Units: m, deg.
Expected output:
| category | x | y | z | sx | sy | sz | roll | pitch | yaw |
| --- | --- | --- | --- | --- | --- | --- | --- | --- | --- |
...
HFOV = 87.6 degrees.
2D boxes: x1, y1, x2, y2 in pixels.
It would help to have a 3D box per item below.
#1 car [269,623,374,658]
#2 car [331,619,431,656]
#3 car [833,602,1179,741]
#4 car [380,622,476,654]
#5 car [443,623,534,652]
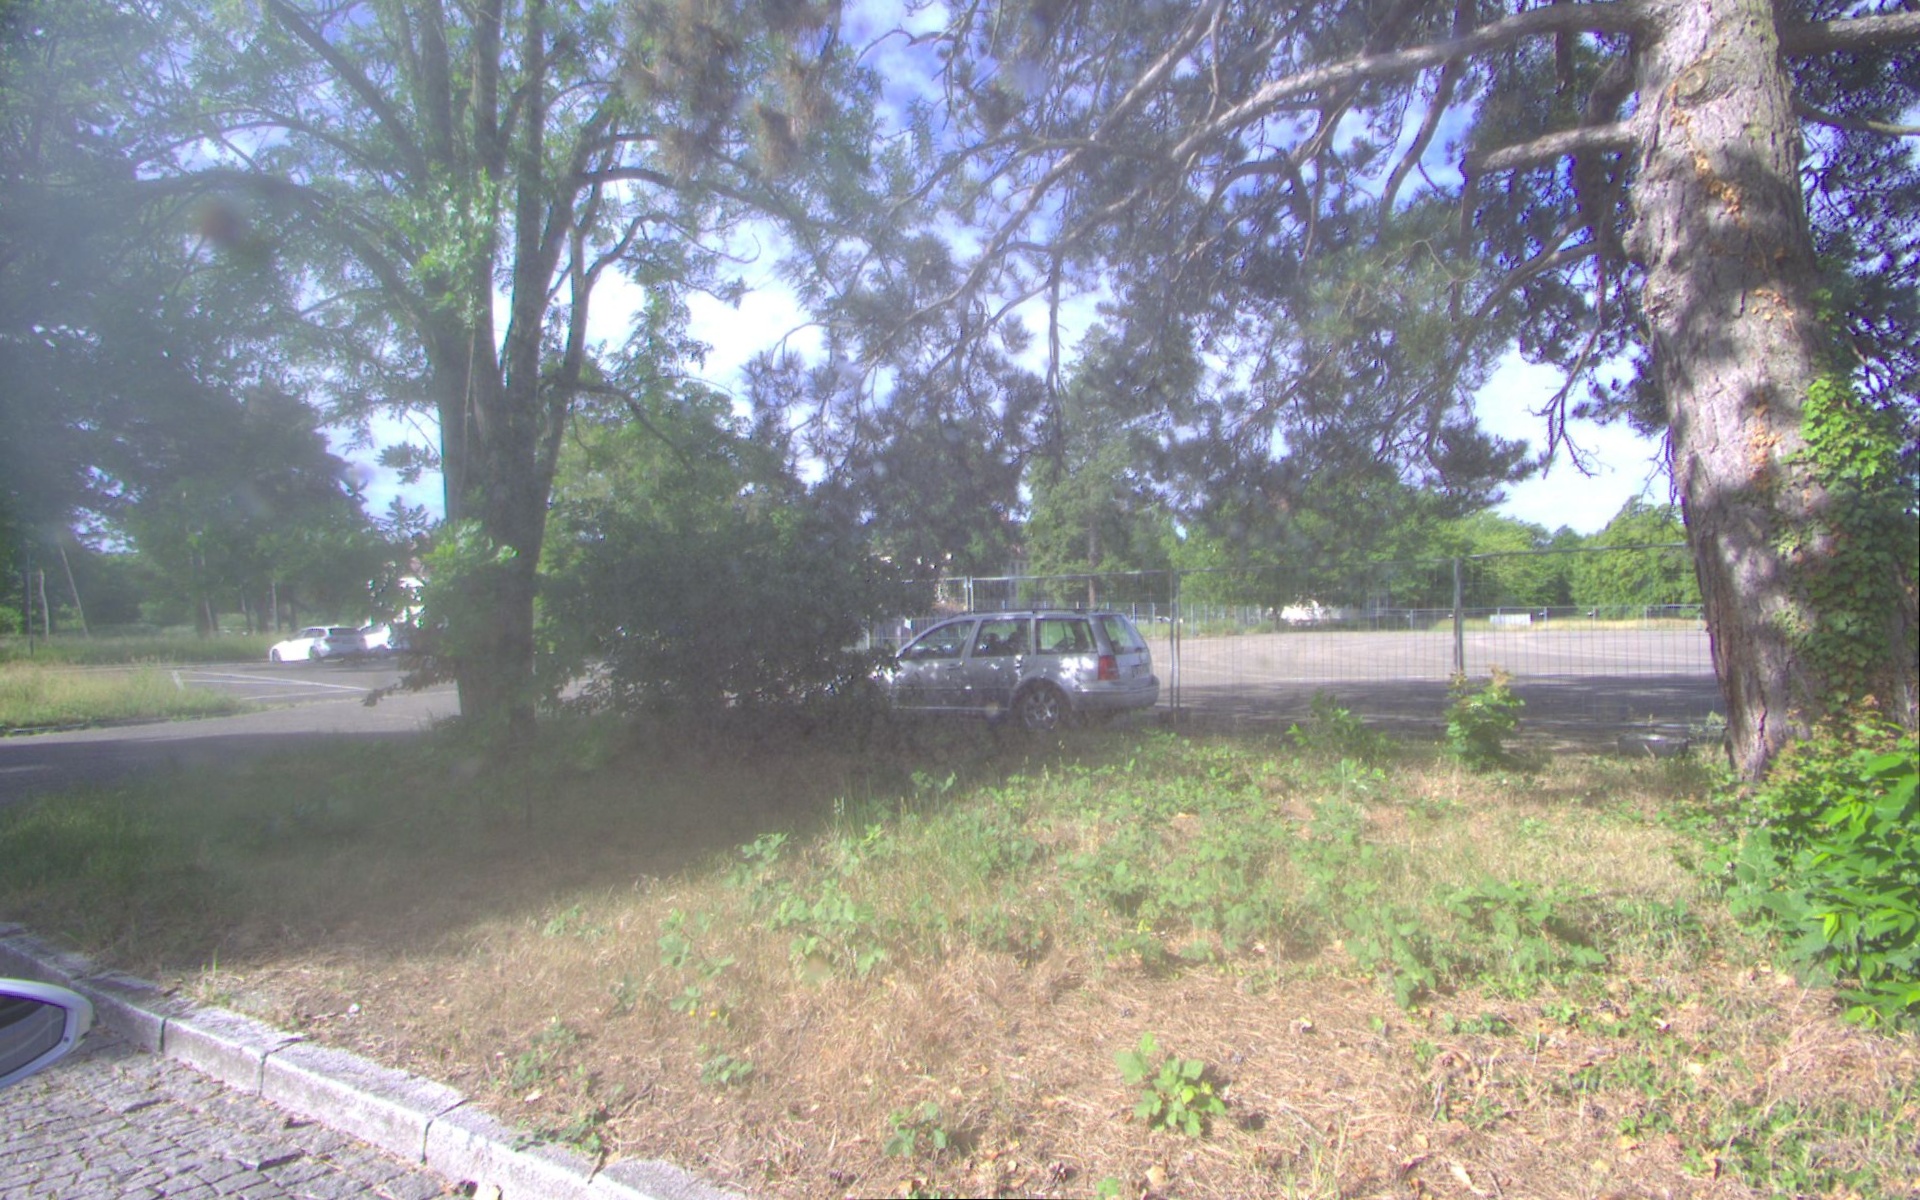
| category | x | y | z | sx | sy | sz | roll | pitch | yaw |
| --- | --- | --- | --- | --- | --- | --- | --- | --- | --- |
| car | -25.802 | 1.606 | 40.468 | 4.265 | 1.329 | 1.729 | -1 | -1 | 28 |
| car | -24.757 | 1.607 | 42.784 | 4.265 | 1.496 | 1.729 | -1 | -1 | 28 |
| car | 0.529 | 0.809 | 12.355 | 3.938 | 1.487 | 1.666 | -1 | -1 | 28 |
| car | -23.896 | 1.687 | 44.953 | 4.265 | 1.329 | 1.729 | -1 | 0 | 28 |
| car | -22.477 | 1.767 | 47.668 | 4.265 | 1.329 | 1.729 | -1 | 0 | 28 |
